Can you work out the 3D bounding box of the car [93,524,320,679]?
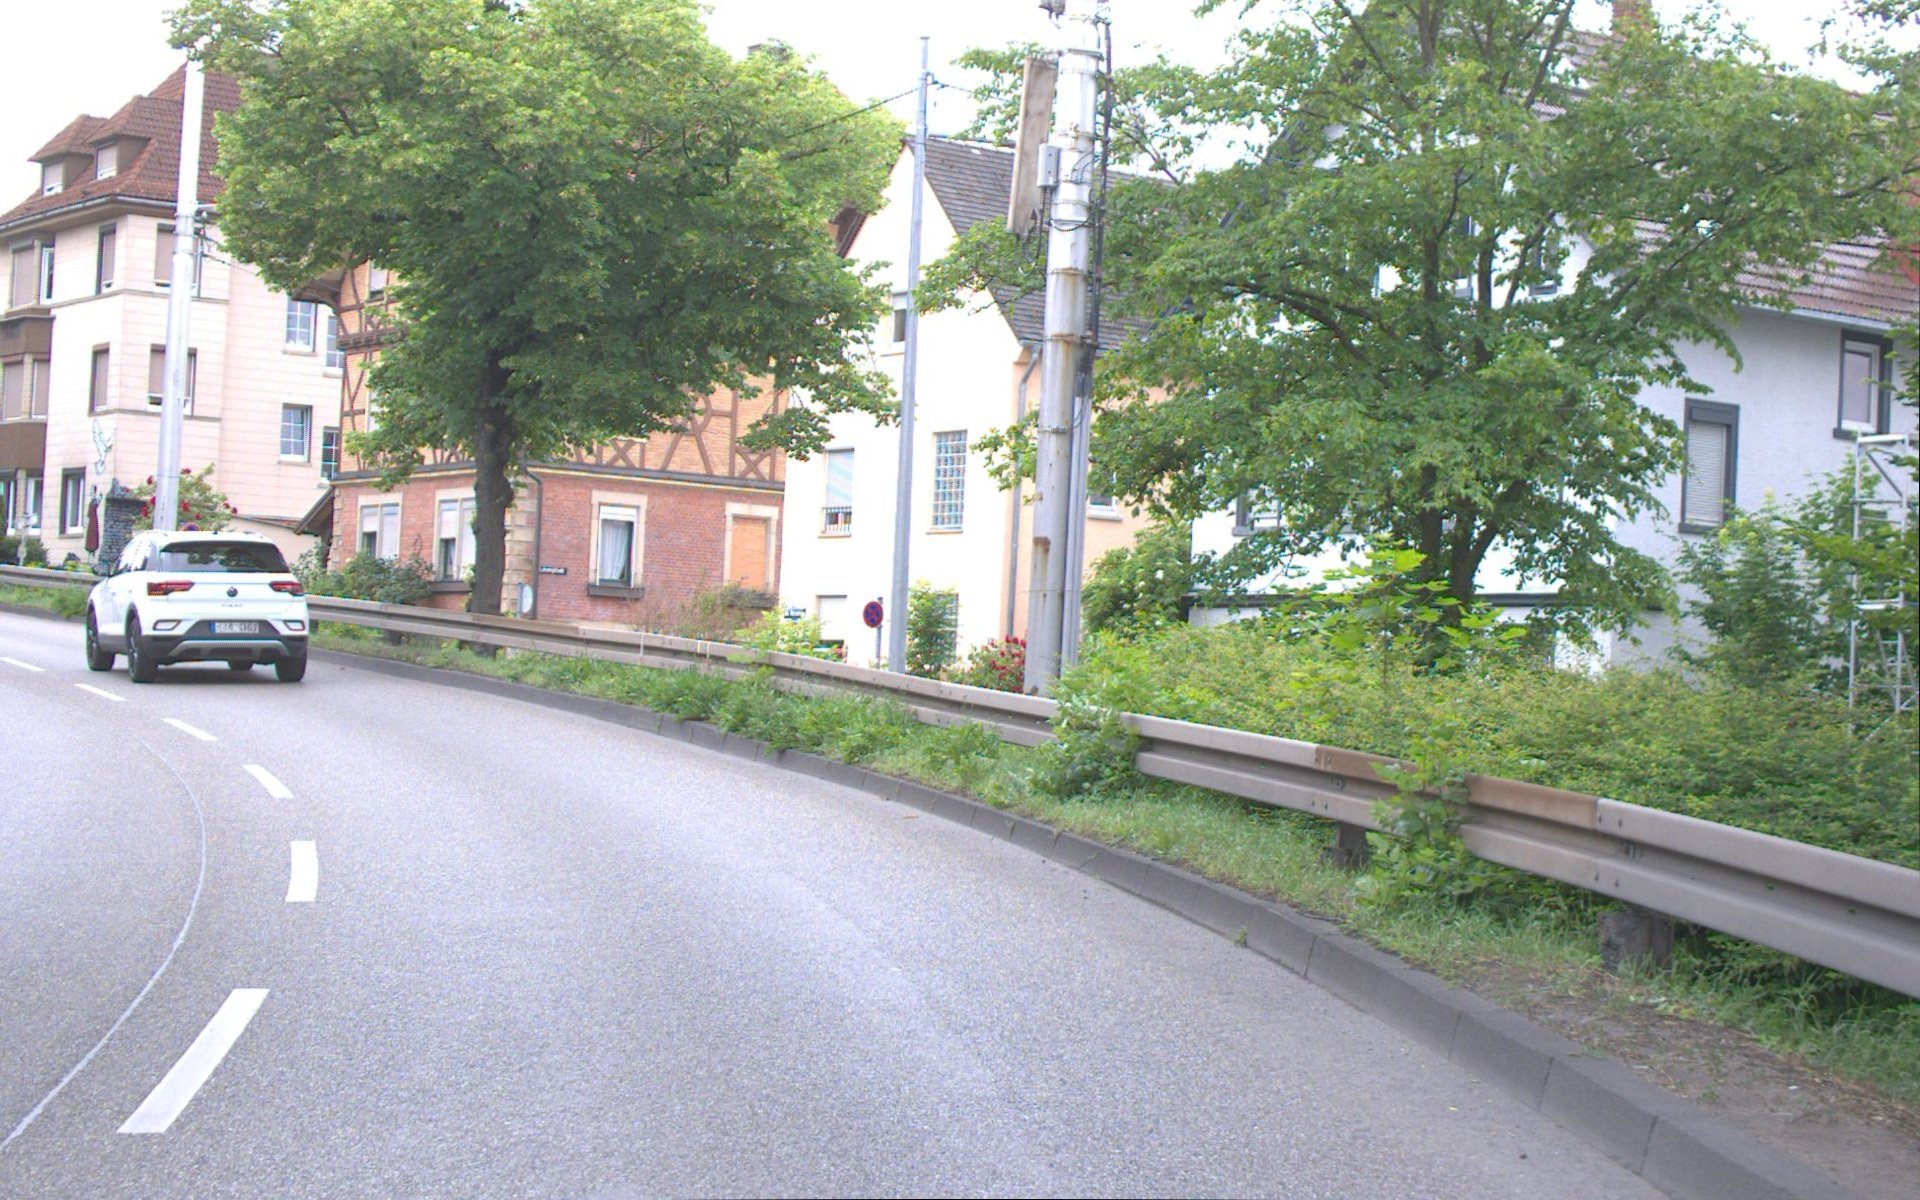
[{"bbox_3d":[-8.018,-0.008,36.382,1.796,1.513,3.457,1,1,-21],"label":"car"}]
